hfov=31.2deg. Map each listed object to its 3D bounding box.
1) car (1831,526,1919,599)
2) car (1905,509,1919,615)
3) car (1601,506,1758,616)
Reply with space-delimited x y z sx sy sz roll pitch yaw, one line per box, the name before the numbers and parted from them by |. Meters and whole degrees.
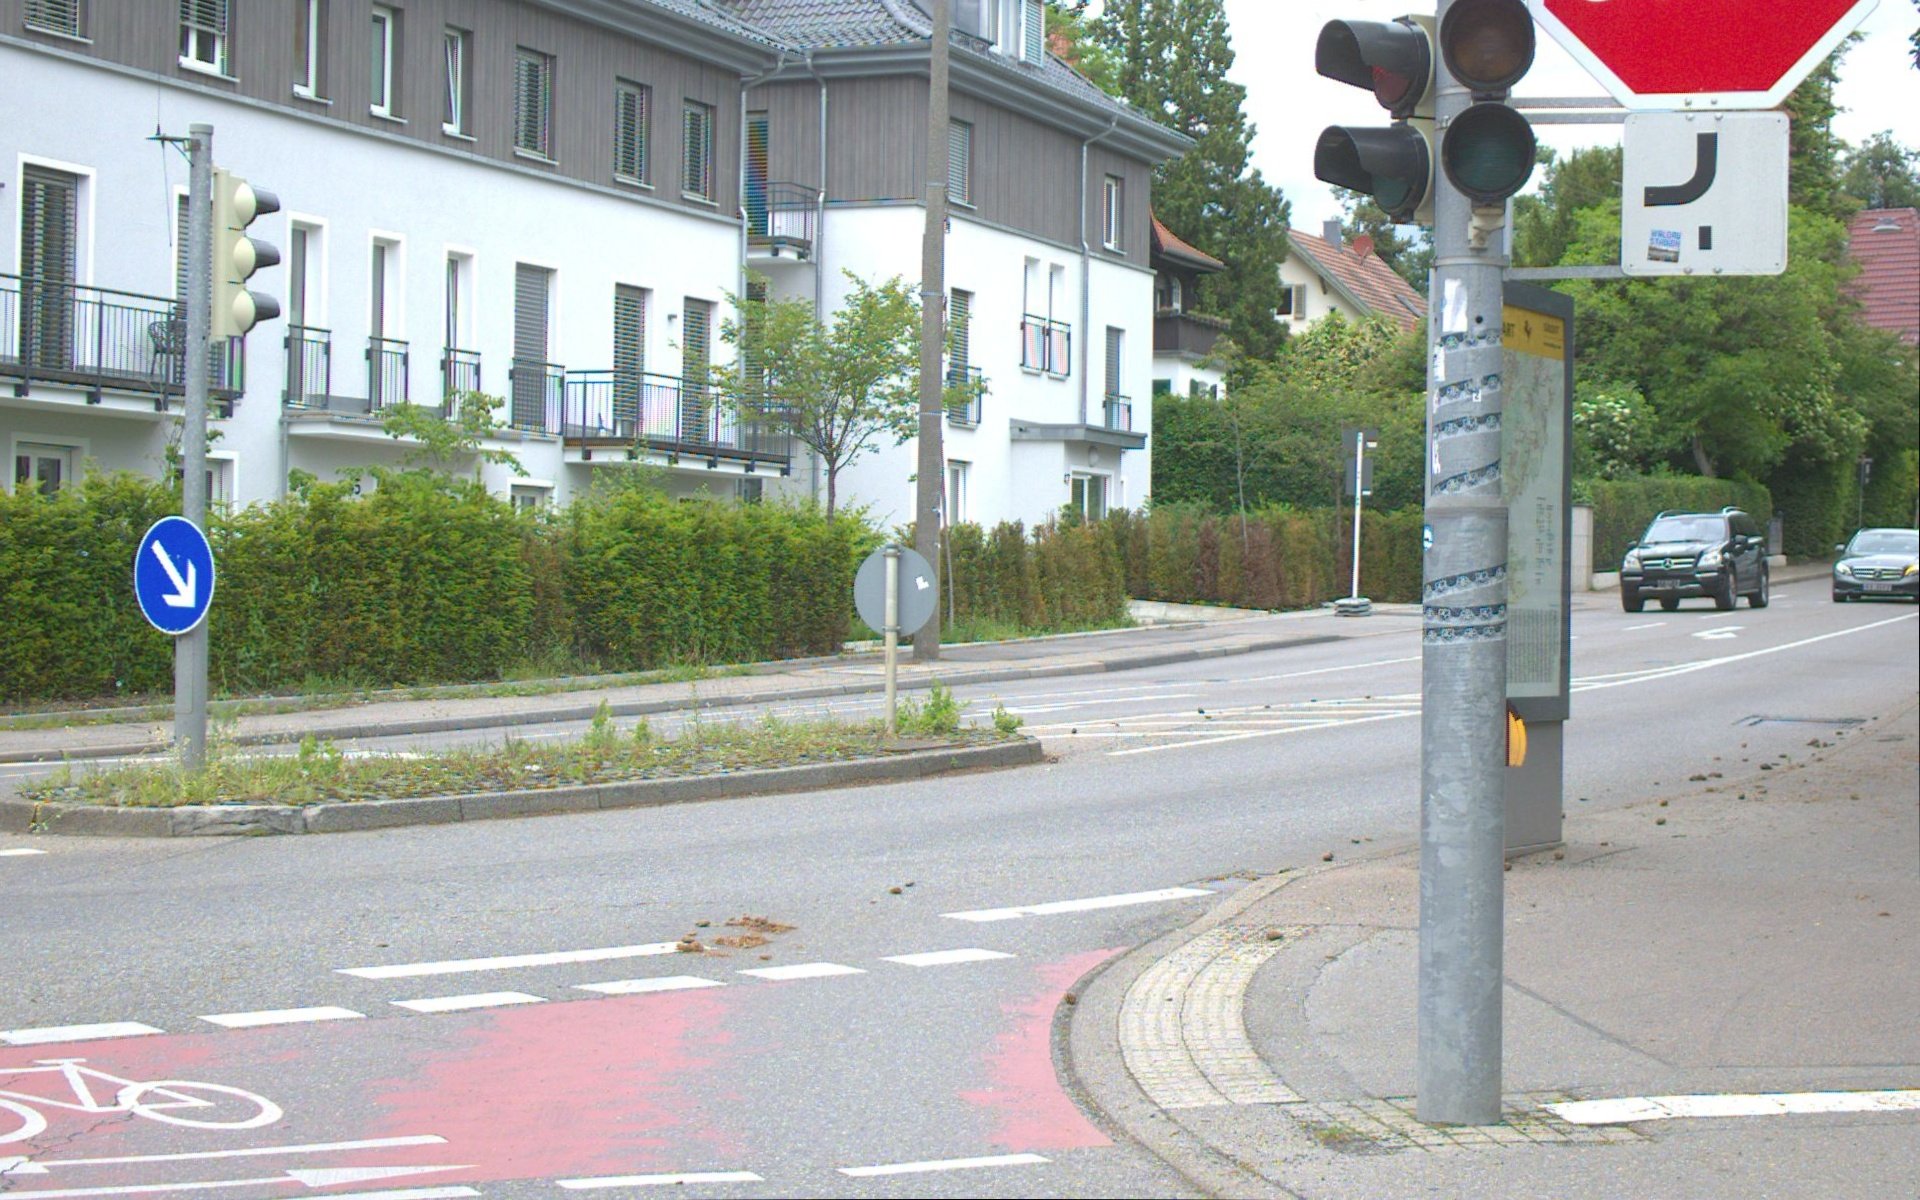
car | 18.837 -0.778 69.028 1.941 1.399 4.737 1 2 22
car | 17.240 -0.677 58.616 1.809 1.747 4.483 0 1 20
car | 13.039 -0.691 62.059 1.914 1.874 5.136 -1 0 22
